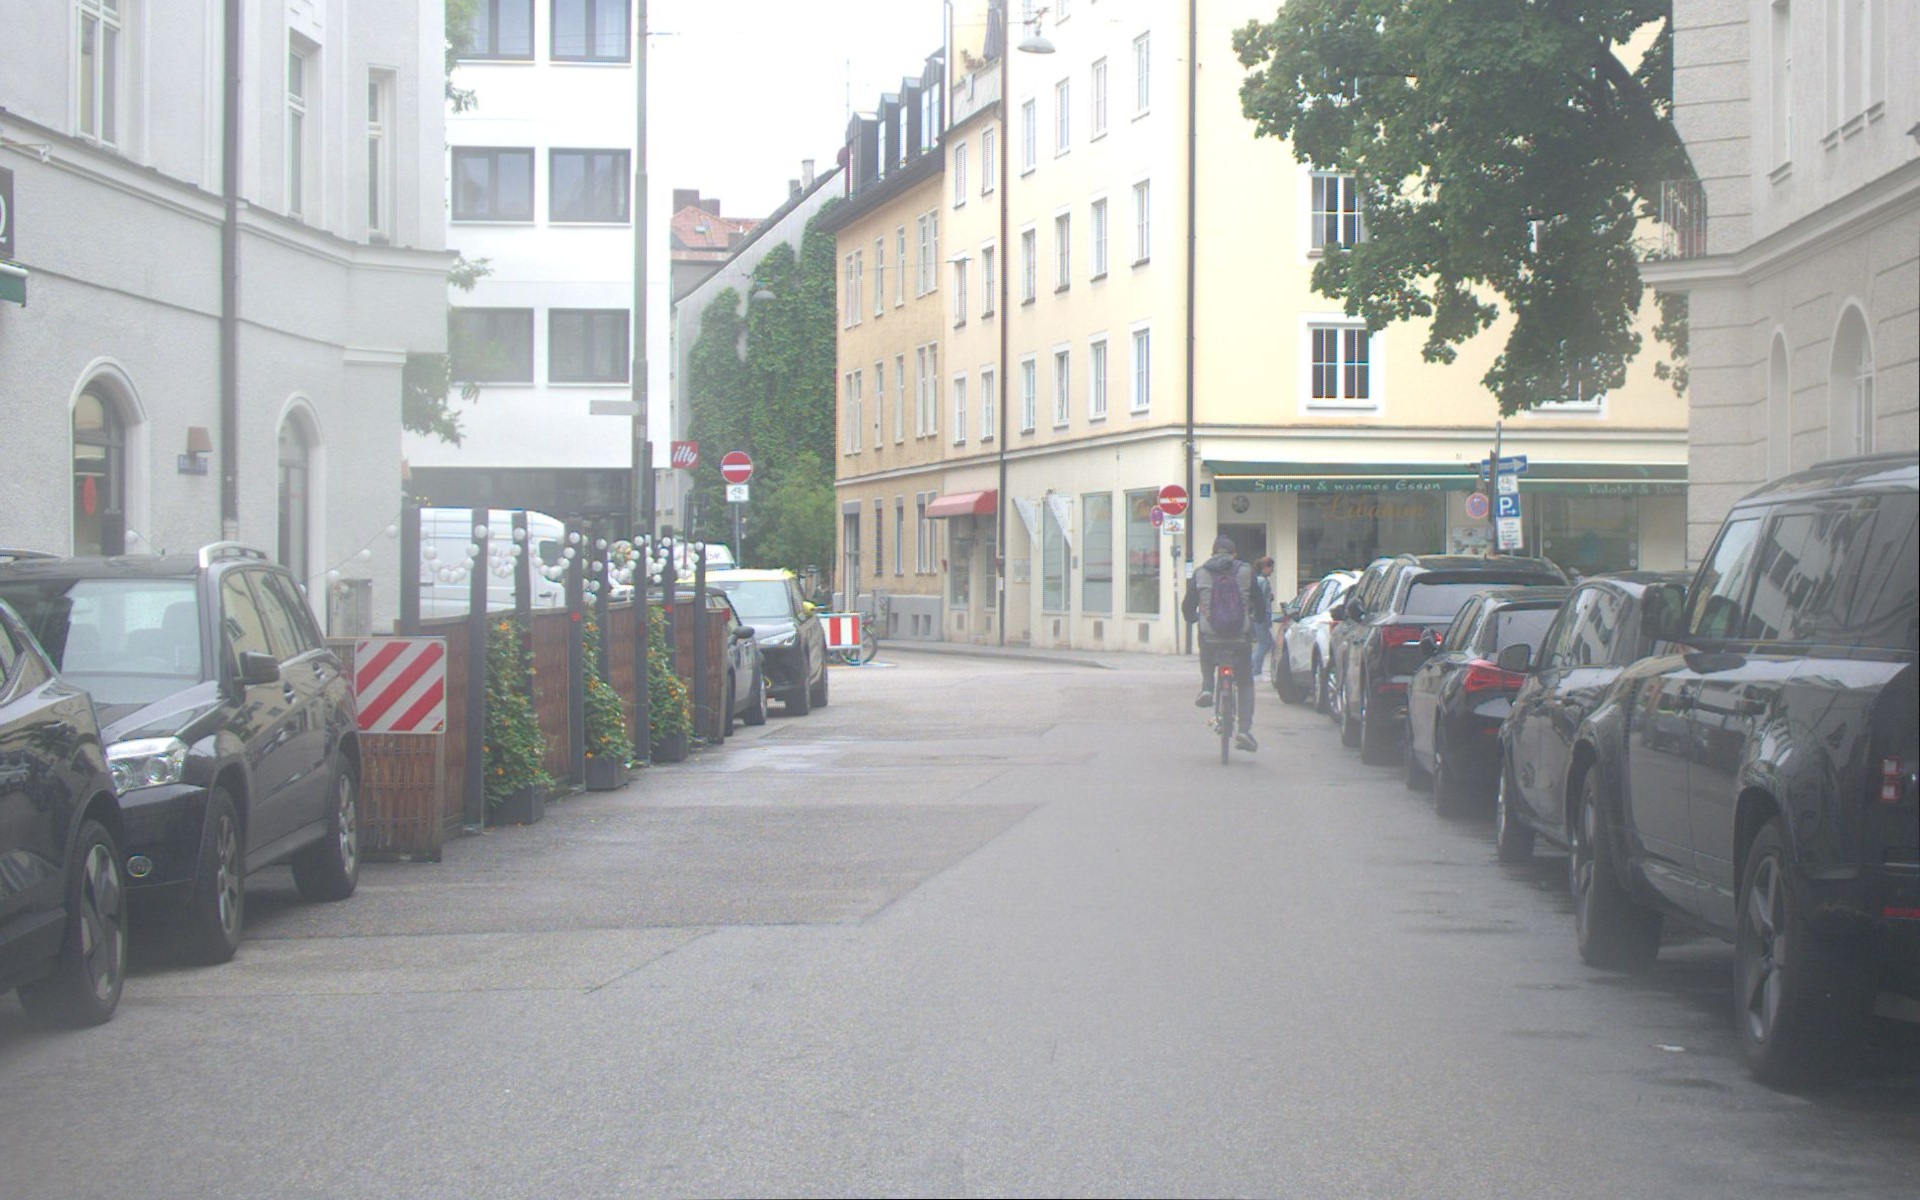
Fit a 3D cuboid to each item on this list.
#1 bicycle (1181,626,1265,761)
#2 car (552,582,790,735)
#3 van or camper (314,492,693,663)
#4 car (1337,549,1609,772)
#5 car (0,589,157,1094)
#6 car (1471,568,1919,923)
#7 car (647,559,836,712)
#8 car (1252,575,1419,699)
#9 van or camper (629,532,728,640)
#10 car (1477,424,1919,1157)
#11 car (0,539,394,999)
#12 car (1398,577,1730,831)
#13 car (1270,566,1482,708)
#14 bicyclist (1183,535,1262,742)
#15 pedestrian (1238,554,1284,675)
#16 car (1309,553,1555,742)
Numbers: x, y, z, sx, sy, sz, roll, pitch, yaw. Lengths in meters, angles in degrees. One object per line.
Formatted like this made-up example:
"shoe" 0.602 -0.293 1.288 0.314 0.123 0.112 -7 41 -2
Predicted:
"bicycle" 2.063 0.717 26.917 0.639 1.001 1.574 0 0 5
"car" -2.808 0.539 34.200 1.707 1.385 3.999 -2 0 4
"van or camper" -7.269 -0.342 54.980 5.903 2.668 1.873 0 -1 -7
"car" 4.092 0.425 28.004 1.777 1.630 4.374 1 1 3
"car" -3.718 0.725 10.087 1.742 1.481 4.181 0 1 0
"car" 3.604 0.625 16.979 1.655 1.520 3.637 1 1 1
"car" -2.415 0.374 38.835 1.676 1.591 3.945 -2 0 2
"car" 4.640 0.423 42.956 1.669 1.430 4.213 1 1 1
"van or camper" -6.817 -0.353 82.857 1.993 2.531 4.761 0 0 -9
"car" 3.019 0.497 11.234 1.911 1.879 4.714 2 1 0
"car" -3.698 0.619 14.887 1.746 1.667 4.276 -3 1 -1
"car" 3.846 0.599 22.474 1.707 1.466 4.200 0 1 4
"car" 4.591 0.377 38.444 1.750 1.491 3.910 0 0 -2
"bicyclist" 2.063 0.292 26.957 0.606 1.601 0.757 0 1 5
"pedestrian" 4.149 0.193 47.393 0.611 1.655 0.551 0 1 5
"car" 4.503 0.410 33.370 1.789 1.707 4.426 0 1 0
